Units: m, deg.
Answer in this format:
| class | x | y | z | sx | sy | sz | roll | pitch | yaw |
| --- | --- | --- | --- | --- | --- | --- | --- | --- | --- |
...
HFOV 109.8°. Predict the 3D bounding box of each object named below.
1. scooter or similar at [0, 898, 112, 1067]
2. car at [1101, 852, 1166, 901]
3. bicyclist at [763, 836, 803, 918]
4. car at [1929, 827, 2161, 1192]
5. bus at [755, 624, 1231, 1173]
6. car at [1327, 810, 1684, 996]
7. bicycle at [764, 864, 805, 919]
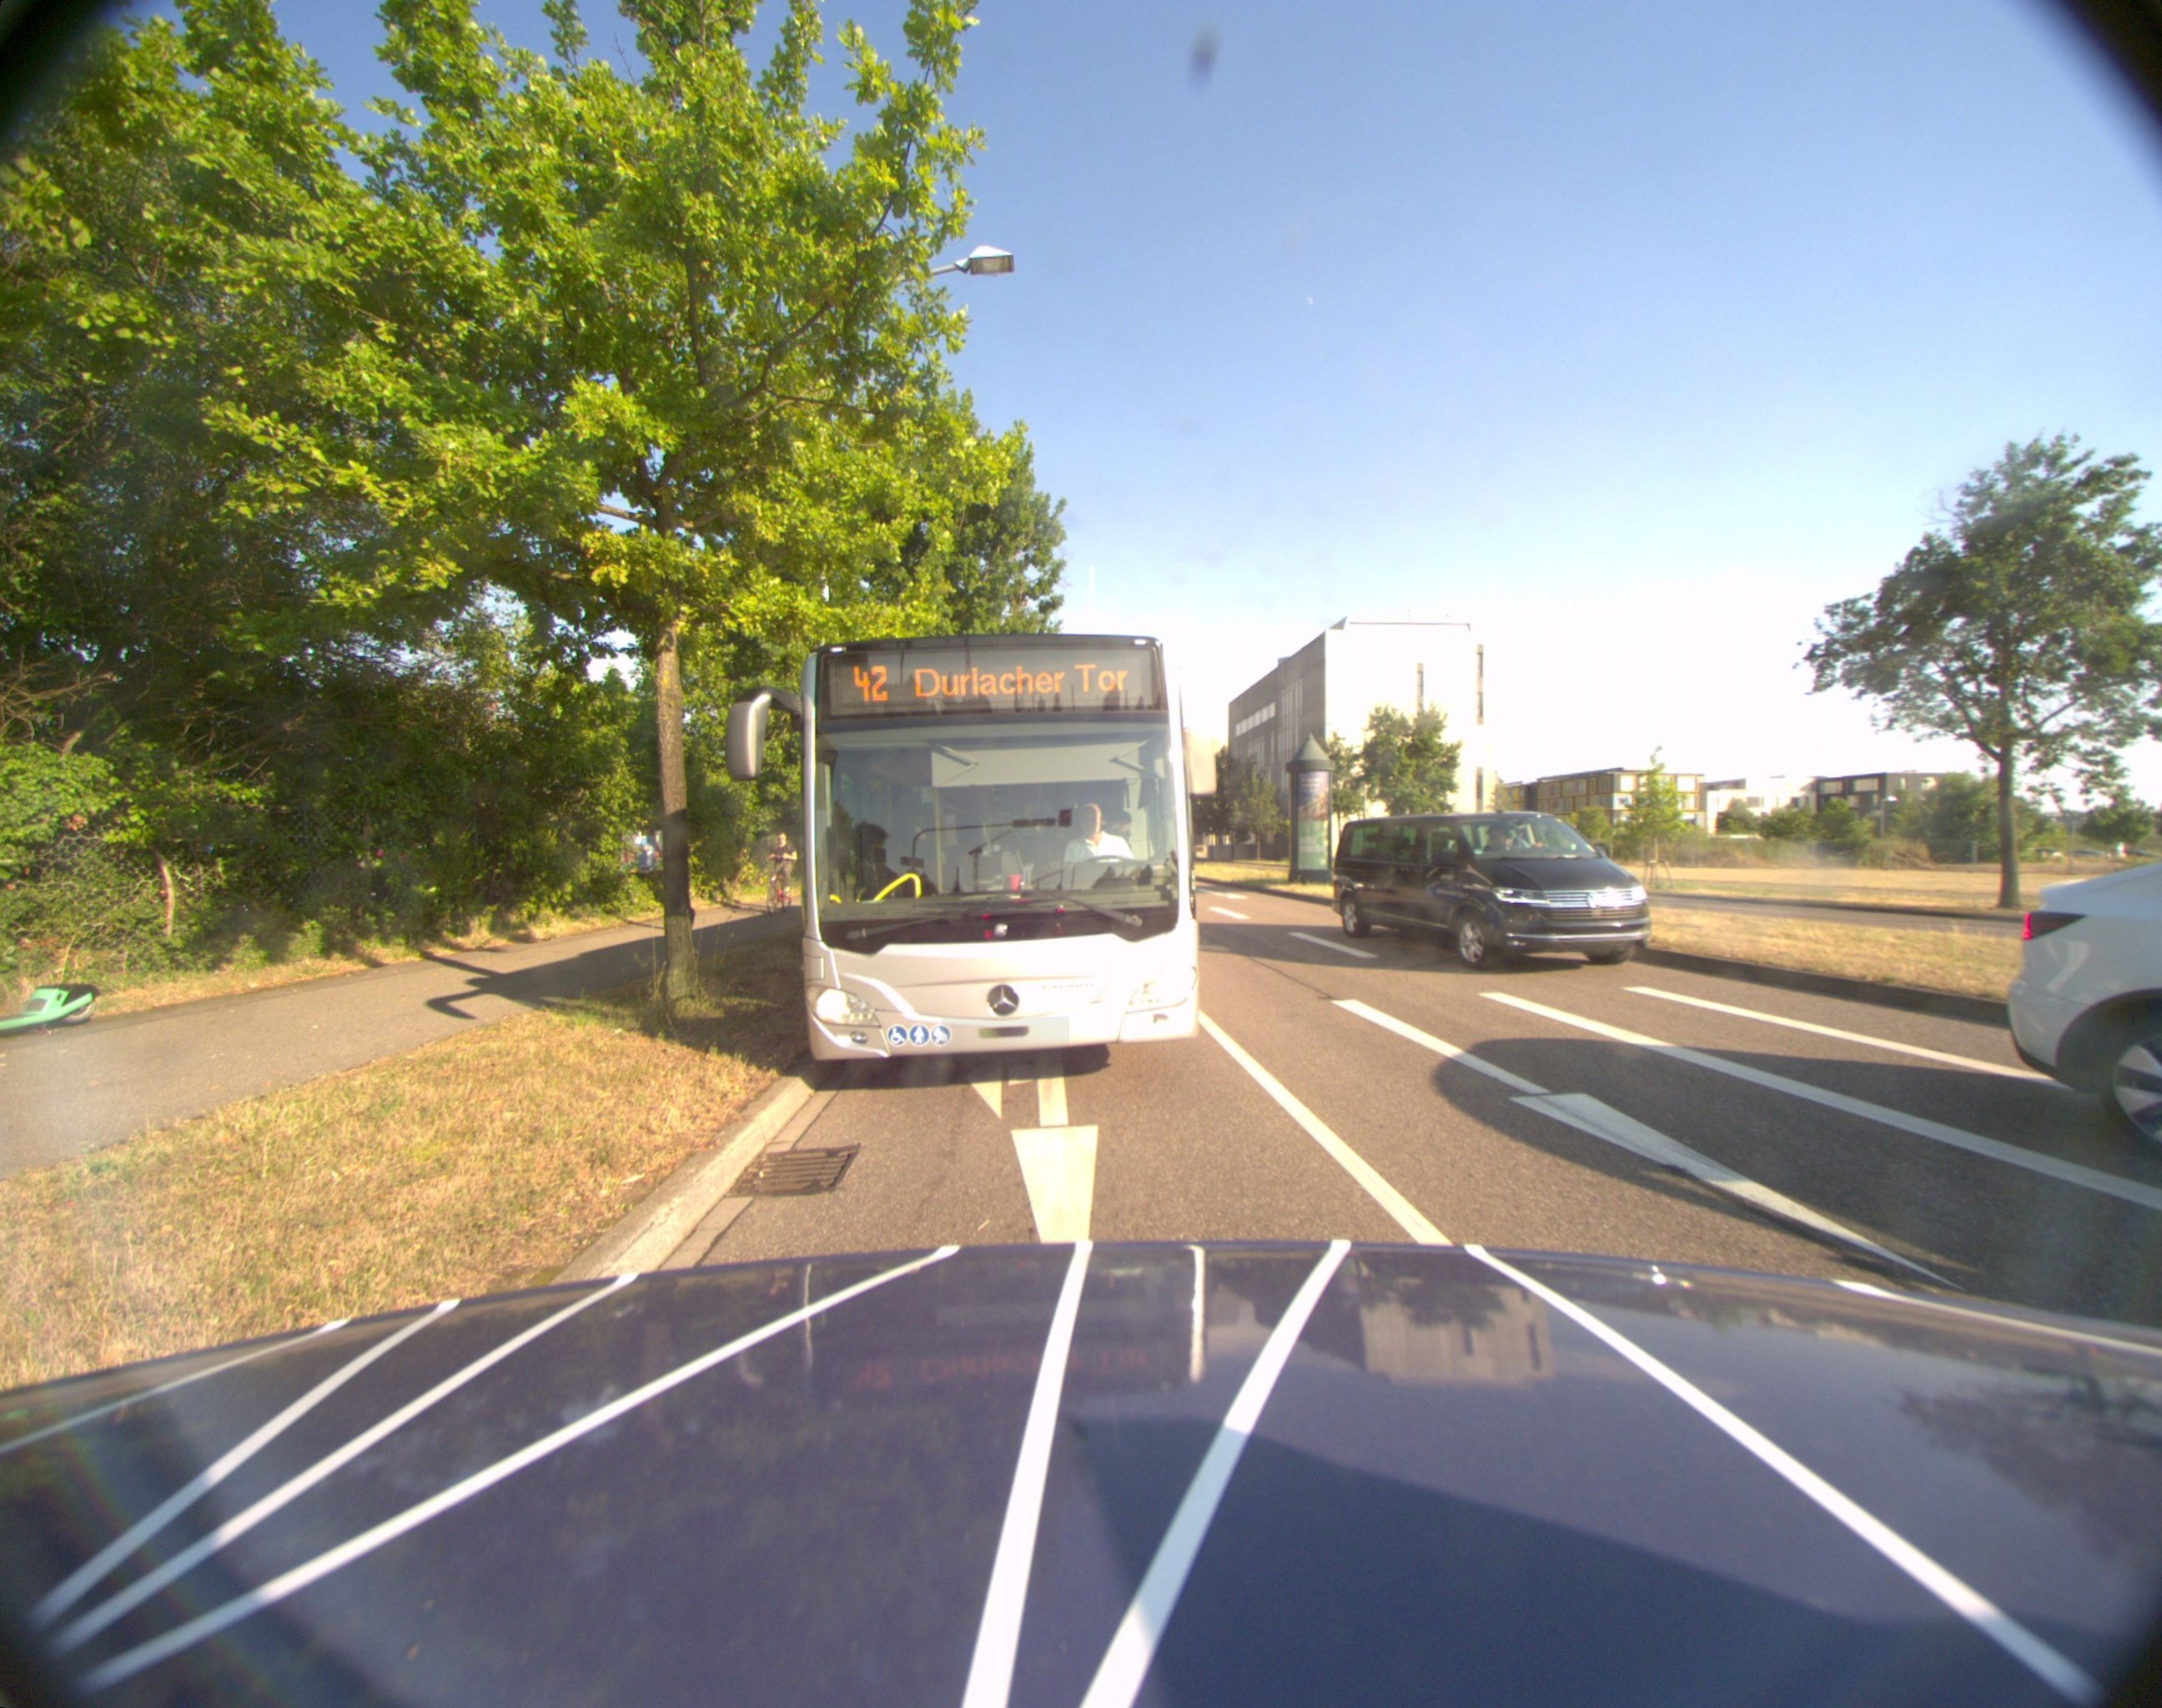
| class | x | y | z | sx | sy | sz | roll | pitch | yaw |
| --- | --- | --- | --- | --- | --- | --- | --- | --- | --- |
| scooter or similar | -7.533 | 0.903 | 5.249 | 0.249 | 1.120 | 1.095 | 2 | 1 | 1 |
| car | 1.602 | 0.656 | 24.603 | 1.810 | 1.428 | 4.493 | -1 | 0 | 0 |
| bicyclist | -6.767 | 0.506 | 17.286 | 0.621 | 1.819 | 0.829 | 2 | 1 | -8 |
| car | 5.679 | 0.669 | 1.897 | 1.740 | 1.590 | 4.675 | -2 | 0 | -4 |
| bus | -0.932 | 0.201 | 10.129 | 2.596 | 3.025 | 11.713 | -1 | 0 | -5 |
| car | 5.353 | 0.485 | 10.594 | 1.861 | 1.921 | 5.010 | -2 | 1 | -4 |
| bicycle | -6.751 | 0.826 | 17.387 | 0.416 | 1.151 | 1.889 | 2 | 0 | -8 |
